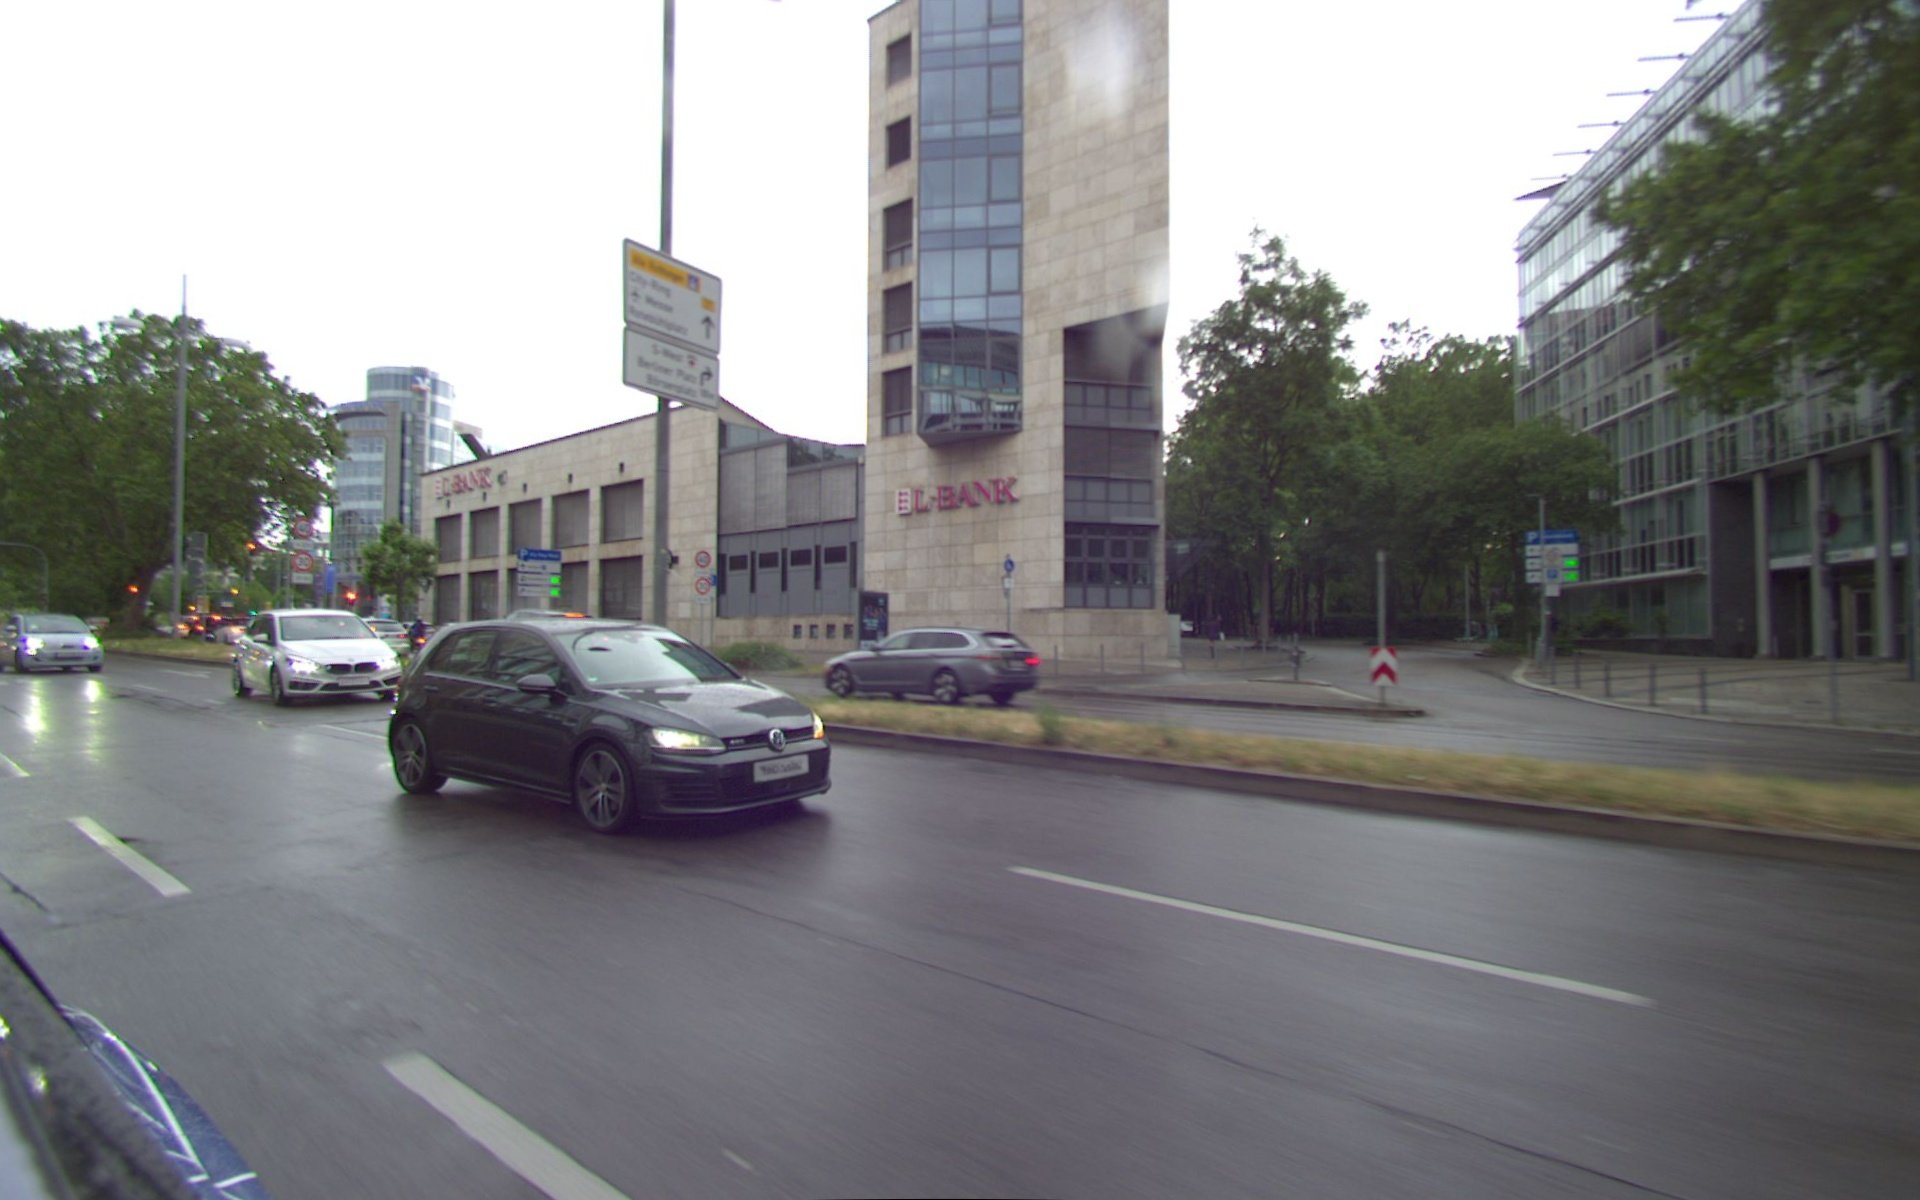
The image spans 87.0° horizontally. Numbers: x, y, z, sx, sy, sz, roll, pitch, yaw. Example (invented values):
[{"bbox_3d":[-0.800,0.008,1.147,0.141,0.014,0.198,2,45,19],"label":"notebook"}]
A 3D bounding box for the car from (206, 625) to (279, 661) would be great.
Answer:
[{"bbox_3d":[-32.412,1.926,45.697,4.315,1.453,1.839,0,-5,44],"label":"car"}]

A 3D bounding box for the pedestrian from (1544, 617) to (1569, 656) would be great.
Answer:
[{"bbox_3d":[25.733,1.568,43.676,0.738,1.643,0.653,-2,-2,19],"label":"pedestrian"}]

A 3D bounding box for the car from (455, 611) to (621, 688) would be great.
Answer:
[{"bbox_3d":[-10.422,1.155,24.820,4.678,1.693,1.854,0,-2,41],"label":"car"}]

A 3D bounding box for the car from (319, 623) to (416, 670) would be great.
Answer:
[{"bbox_3d":[-19.212,1.479,32.722,4.117,1.370,1.579,0,-2,43],"label":"car"}]

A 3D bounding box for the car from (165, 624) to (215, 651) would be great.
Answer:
[{"bbox_3d":[-42.709,2.053,56.130,1.727,1.375,4.134,2,-2,-44],"label":"car"}]

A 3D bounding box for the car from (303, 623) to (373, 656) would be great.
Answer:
[{"bbox_3d":[-28.974,1.817,47.101,4.397,1.443,1.707,0,-2,44],"label":"car"}]

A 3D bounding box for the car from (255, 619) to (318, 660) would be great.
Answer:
[{"bbox_3d":[-35.161,2.027,52.797,1.809,2.017,5.108,2,-2,-44],"label":"car"}]

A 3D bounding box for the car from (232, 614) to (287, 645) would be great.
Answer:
[{"bbox_3d":[-39.837,1.655,57.530,4.094,1.652,1.810,0,-2,45],"label":"car"}]

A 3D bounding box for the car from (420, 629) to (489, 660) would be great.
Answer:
[{"bbox_3d":[-25.830,2.247,51.641,1.727,1.426,4.708,2,-2,-44],"label":"car"}]

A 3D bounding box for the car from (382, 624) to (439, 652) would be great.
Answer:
[{"bbox_3d":[-30.746,2.118,56.587,1.726,1.426,4.297,2,-2,-44],"label":"car"}]

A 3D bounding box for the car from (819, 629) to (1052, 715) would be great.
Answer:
[{"bbox_3d":[-0.587,1.343,20.108,4.757,1.449,1.673,0,-2,41],"label":"car"}]

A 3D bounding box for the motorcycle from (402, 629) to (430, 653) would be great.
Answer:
[{"bbox_3d":[-26.331,1.985,48.950,2.032,1.139,0.543,-2,-3,42],"label":"motorcycle"}]

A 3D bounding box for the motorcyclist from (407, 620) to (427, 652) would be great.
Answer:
[{"bbox_3d":[-26.204,1.747,48.837,0.973,1.541,0.514,-2,-3,42],"label":"motorcyclist"}]

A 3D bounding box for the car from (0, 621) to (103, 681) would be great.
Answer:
[{"bbox_3d":[-23.743,1.277,26.209,3.487,1.452,1.593,-1,-2,36],"label":"car"}]

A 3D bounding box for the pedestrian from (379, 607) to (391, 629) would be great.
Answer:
[{"bbox_3d":[-50.487,1.590,88.801,1.125,1.939,0.582,-1,-1,41],"label":"pedestrian"}]

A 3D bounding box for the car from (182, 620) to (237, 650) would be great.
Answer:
[{"bbox_3d":[-37.791,1.741,50.936,1.727,1.375,3.947,2,-2,-44],"label":"car"}]

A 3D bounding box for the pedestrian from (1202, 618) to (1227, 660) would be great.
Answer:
[{"bbox_3d":[9.745,1.508,38.747,0.815,1.582,0.664,-2,-2,19],"label":"pedestrian"}]

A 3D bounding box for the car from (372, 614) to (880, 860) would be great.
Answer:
[{"bbox_3d":[-2.757,0.859,7.979,4.115,1.463,1.768,-1,-2,36],"label":"car"}]

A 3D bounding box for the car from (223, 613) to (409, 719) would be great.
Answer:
[{"bbox_3d":[-11.256,1.055,17.591,4.000,1.608,1.757,0,-2,43],"label":"car"}]

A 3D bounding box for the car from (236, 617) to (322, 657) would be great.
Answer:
[{"bbox_3d":[-26.757,1.411,39.717,4.580,1.448,1.682,0,-2,41],"label":"car"}]
